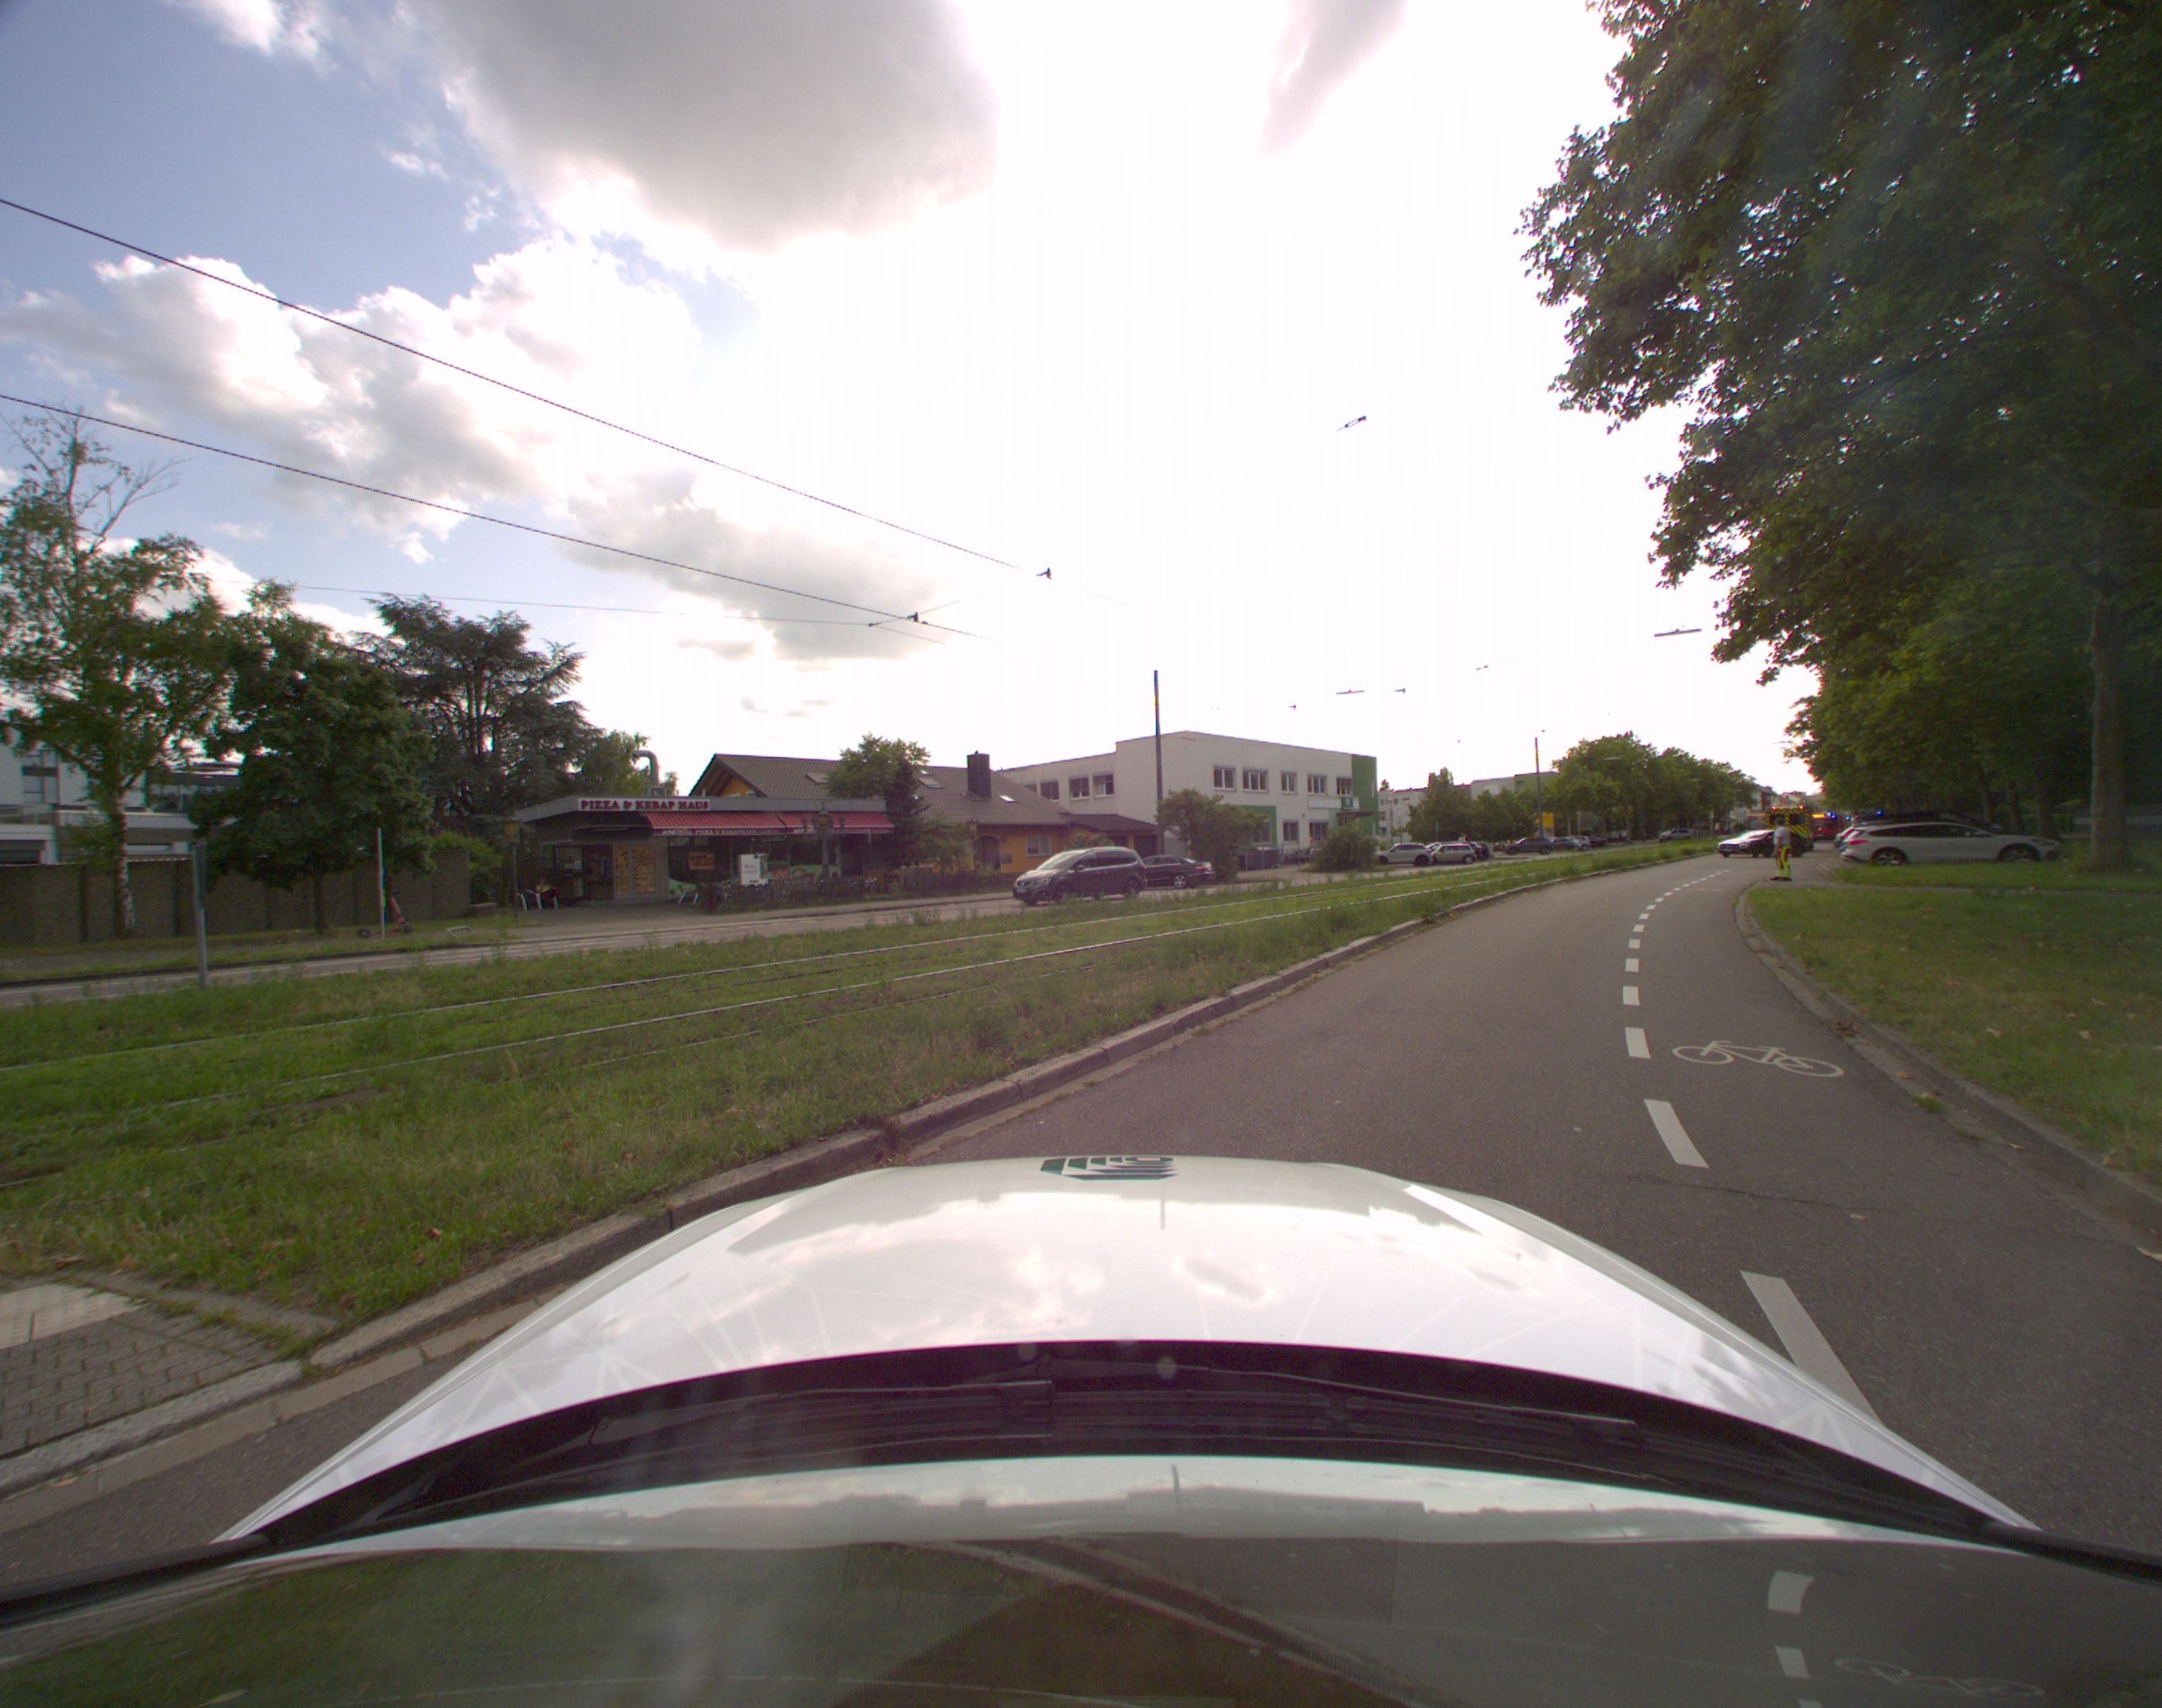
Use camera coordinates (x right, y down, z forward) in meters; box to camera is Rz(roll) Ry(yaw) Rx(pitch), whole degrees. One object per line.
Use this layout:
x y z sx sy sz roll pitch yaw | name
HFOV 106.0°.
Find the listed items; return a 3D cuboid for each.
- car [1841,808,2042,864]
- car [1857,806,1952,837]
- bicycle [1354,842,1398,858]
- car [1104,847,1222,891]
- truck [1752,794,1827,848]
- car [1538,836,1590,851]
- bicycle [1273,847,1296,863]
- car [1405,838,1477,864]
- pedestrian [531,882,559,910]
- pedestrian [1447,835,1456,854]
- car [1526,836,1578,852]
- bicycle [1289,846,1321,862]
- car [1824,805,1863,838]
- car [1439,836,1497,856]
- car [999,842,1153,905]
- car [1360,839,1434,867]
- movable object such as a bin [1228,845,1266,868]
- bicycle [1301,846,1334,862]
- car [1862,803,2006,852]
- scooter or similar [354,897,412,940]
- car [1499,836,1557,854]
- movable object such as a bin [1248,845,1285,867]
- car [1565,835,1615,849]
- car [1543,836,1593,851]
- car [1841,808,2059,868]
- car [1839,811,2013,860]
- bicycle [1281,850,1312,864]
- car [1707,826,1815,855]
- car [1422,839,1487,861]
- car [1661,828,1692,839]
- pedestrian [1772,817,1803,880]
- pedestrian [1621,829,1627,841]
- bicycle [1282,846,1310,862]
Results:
28.846 -0.540 27.560 4.485 1.644 2.012 -2 -1 42 | car
93.684 -3.647 92.828 7.363 3.330 2.994 0 1 39 | car
24.036 -0.322 66.331 3.103 1.166 1.149 -2 0 40 | bicycle
3.497 0.637 34.829 4.523 1.580 2.012 -3 -1 24 | car
47.786 -2.203 54.833 7.567 3.317 3.154 -2 0 -45 | truck
49.404 -1.044 83.424 4.263 1.363 1.912 -2 0 22 | car
15.083 0.096 60.294 0.708 1.166 1.606 -2 0 -29 | bicycle
24.791 -0.229 56.232 4.268 1.629 1.910 -2 0 16 | car
-19.130 1.488 29.047 0.731 0.929 0.768 -1 1 -41 | pedestrian
33.725 -0.880 74.077 0.590 1.674 0.544 -2 0 35 | pedestrian
46.911 -0.984 81.190 4.263 1.363 1.912 -2 0 22 | car
17.011 0.024 61.846 0.764 1.166 2.324 -2 0 -40 | bicycle
81.036 -3.416 86.638 2.938 3.330 7.505 0 1 43 | car
31.293 -0.626 65.903 4.120 1.504 1.871 -2 0 22 | car
-0.091 0.577 26.154 4.766 1.722 1.976 -2 0 -41 | car
21.069 -0.078 54.454 4.273 1.629 1.908 -2 0 11 | car
10.608 0.148 51.953 2.129 1.326 1.360 -2 0 -42 | movable object such as a bin
18.121 0.011 62.364 0.752 1.166 2.390 -2 0 -38 | bicycle
39.646 -1.197 38.018 2.012 2.014 4.500 -1 -1 -45 | car
-18.731 1.712 21.864 1.108 1.059 0.398 -1 1 -30 | scooter or similar
40.176 -0.801 73.304 4.264 1.363 1.912 -2 0 20 | car
12.192 0.109 53.484 2.143 1.326 1.360 -2 0 -42 | movable object such as a bin
54.641 -1.304 87.494 4.263 1.363 1.912 -2 0 22 | car
51.059 -1.091 85.449 4.263 1.363 1.912 -2 0 22 | car
27.077 -0.430 25.655 4.485 1.644 2.012 -2 -1 42 | car
32.359 -0.652 31.414 4.485 1.644 2.012 -2 -1 42 | car
16.215 0.237 61.350 0.735 0.970 2.133 -2 0 -41 | bicycle
36.383 -0.728 43.618 4.588 1.393 1.836 -2 0 -8 | car
27.814 -0.319 60.756 4.124 1.504 1.869 -2 0 17 | car
100.951 -3.464 138.084 3.959 1.837 1.828 0 1 13 | car
19.325 -0.155 22.281 0.580 1.684 0.497 -2 0 40 | pedestrian
82.819 -2.919 124.248 0.614 1.729 0.650 0 1 44 | pedestrian
15.431 0.027 58.577 1.774 1.081 0.741 -2 0 42 | bicycle
